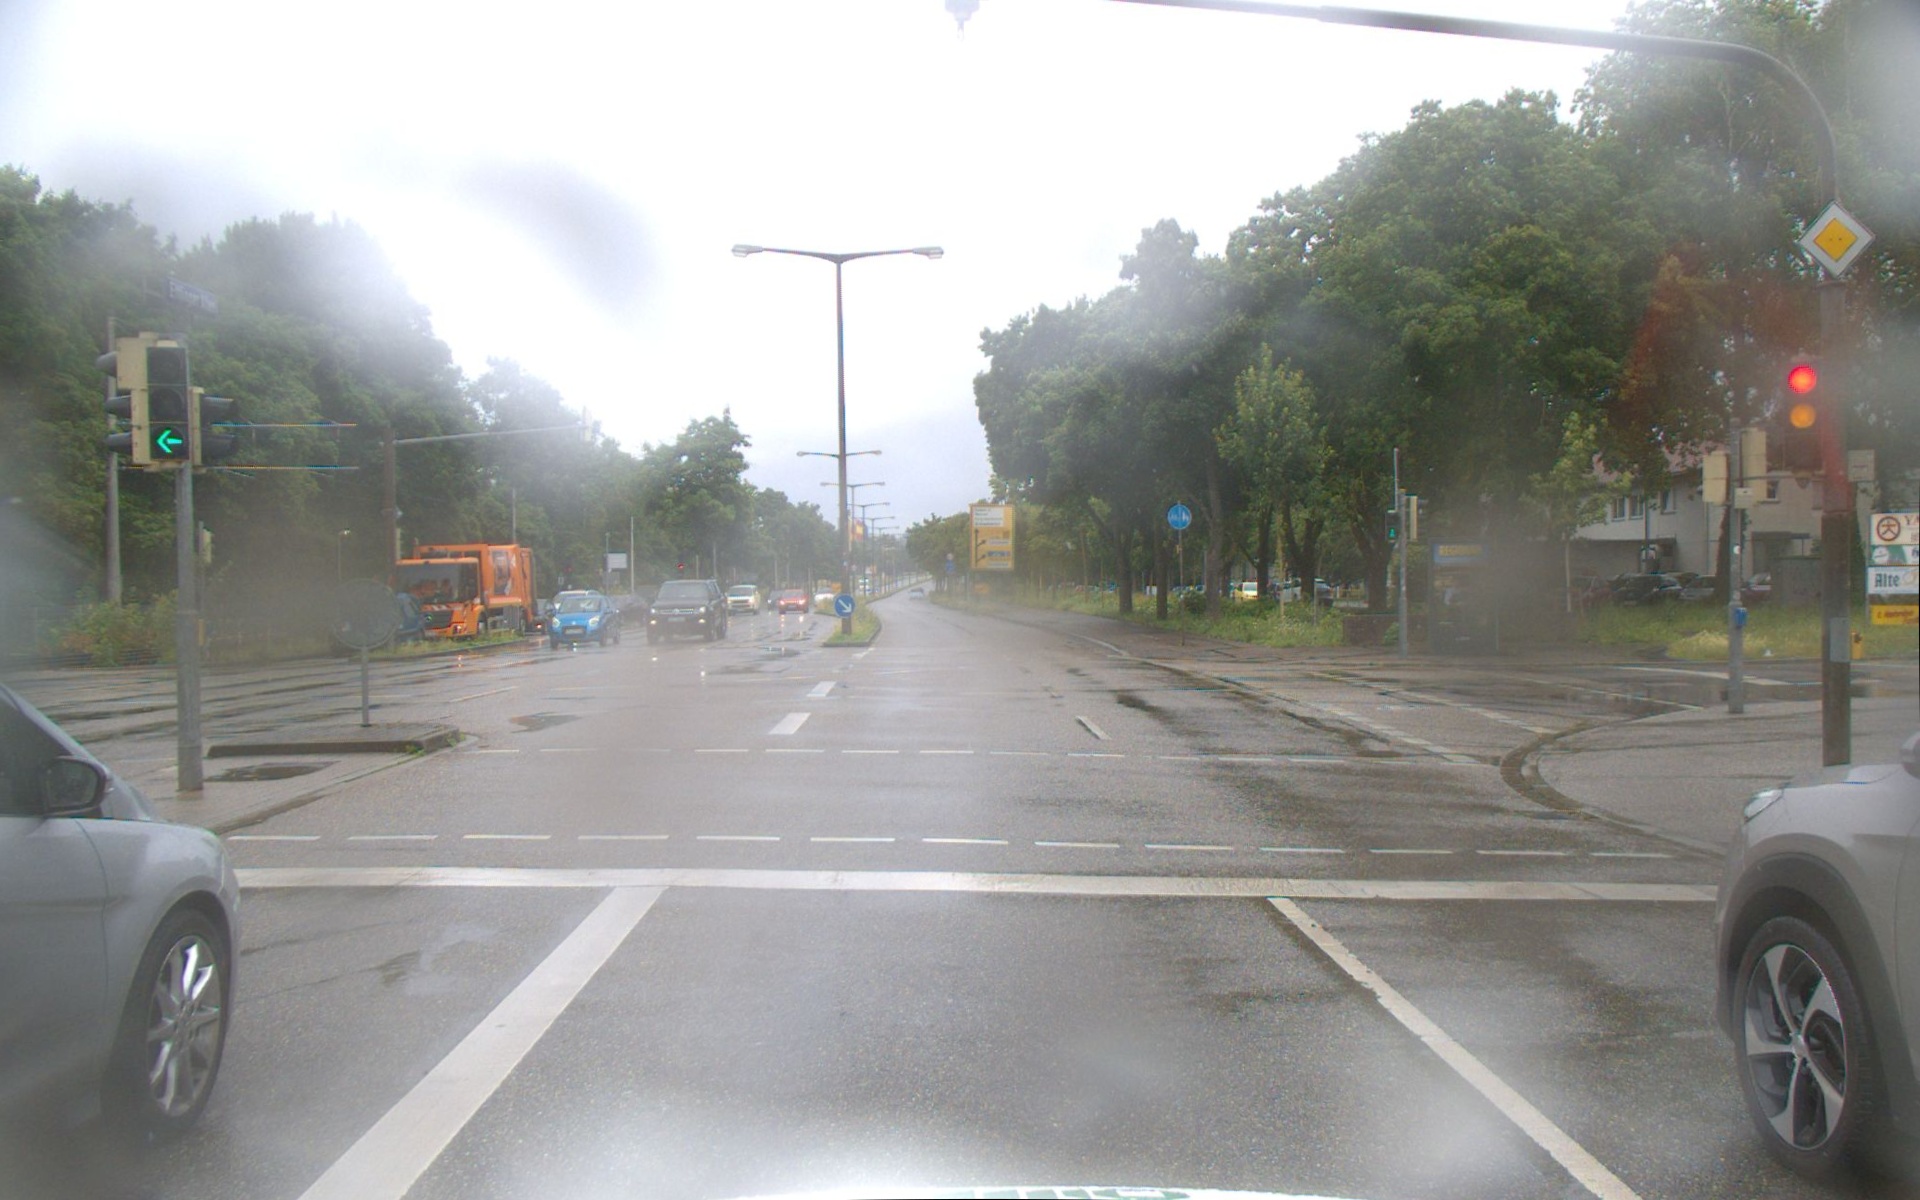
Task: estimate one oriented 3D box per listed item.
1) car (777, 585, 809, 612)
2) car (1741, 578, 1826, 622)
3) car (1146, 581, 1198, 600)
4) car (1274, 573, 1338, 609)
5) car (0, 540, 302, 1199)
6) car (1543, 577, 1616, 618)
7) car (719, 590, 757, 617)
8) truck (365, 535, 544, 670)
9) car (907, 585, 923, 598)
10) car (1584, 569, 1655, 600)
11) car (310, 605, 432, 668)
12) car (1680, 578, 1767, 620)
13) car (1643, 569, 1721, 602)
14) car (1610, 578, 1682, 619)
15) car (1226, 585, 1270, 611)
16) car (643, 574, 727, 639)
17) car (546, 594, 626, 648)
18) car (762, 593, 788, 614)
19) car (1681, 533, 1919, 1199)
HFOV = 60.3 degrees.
[{"bbox_3d":[-10.648,-0.073,105.740,1.765,1.597,4.426,-2,0,-2],"label":"car"},{"bbox_3d":[29.179,0.000,58.552,3.724,1.474,1.577,1,0,-45],"label":"car"},{"bbox_3d":[19.912,-0.848,155.154,4.483,1.673,1.997,1,0,-7],"label":"car"},{"bbox_3d":[17.663,-0.429,84.598,1.954,1.747,4.875,-1,0,-4],"label":"car"},{"bbox_3d":[-2.833,0.670,3.042,1.701,1.571,4.012,0,0,-1],"label":"car"},{"bbox_3d":[23.783,-0.086,63.430,1.637,1.474,3.737,1,0,37],"label":"car"},{"bbox_3d":[-14.026,0.187,104.592,1.855,1.639,4.499,-1,1,-1],"label":"car"},{"bbox_3d":[-17.457,0.105,58.017,3.317,4.240,10.402,1,0,-2],"label":"truck"},{"bbox_3d":[-5.436,-1.046,200.350,1.868,1.541,3.999,-1,0,-1],"label":"car"},{"bbox_3d":[29.808,-0.693,74.854,1.541,1.339,3.698,1,0,-4],"label":"car"},{"bbox_3d":[-17.208,1.031,48.540,1.953,1.739,4.526,1,0,-1],"label":"car"},{"bbox_3d":[27.625,-0.025,59.819,3.724,1.474,1.643,1,0,-45],"label":"car"},{"bbox_3d":[32.778,-0.647,75.198,1.552,1.409,3.997,1,0,-4],"label":"car"},{"bbox_3d":[25.780,-0.053,62.060,1.637,1.474,3.737,1,0,37],"label":"car"},{"bbox_3d":[17.032,-0.120,97.930,1.605,1.512,4.070,1,0,-4],"label":"car"},{"bbox_3d":[-8.226,0.163,49.803,1.769,1.804,5.087,-2,0,-2],"label":"car"},{"bbox_3d":[-10.968,0.589,48.705,1.608,1.452,3.997,-3,0,-4],"label":"car"},{"bbox_3d":[-15.238,0.285,136.377,1.672,1.670,4.330,-2,0,-1],"label":"car"},{"bbox_3d":[3.152,0.675,2.930,1.846,1.638,4.194,1,0,-1],"label":"car"}]
